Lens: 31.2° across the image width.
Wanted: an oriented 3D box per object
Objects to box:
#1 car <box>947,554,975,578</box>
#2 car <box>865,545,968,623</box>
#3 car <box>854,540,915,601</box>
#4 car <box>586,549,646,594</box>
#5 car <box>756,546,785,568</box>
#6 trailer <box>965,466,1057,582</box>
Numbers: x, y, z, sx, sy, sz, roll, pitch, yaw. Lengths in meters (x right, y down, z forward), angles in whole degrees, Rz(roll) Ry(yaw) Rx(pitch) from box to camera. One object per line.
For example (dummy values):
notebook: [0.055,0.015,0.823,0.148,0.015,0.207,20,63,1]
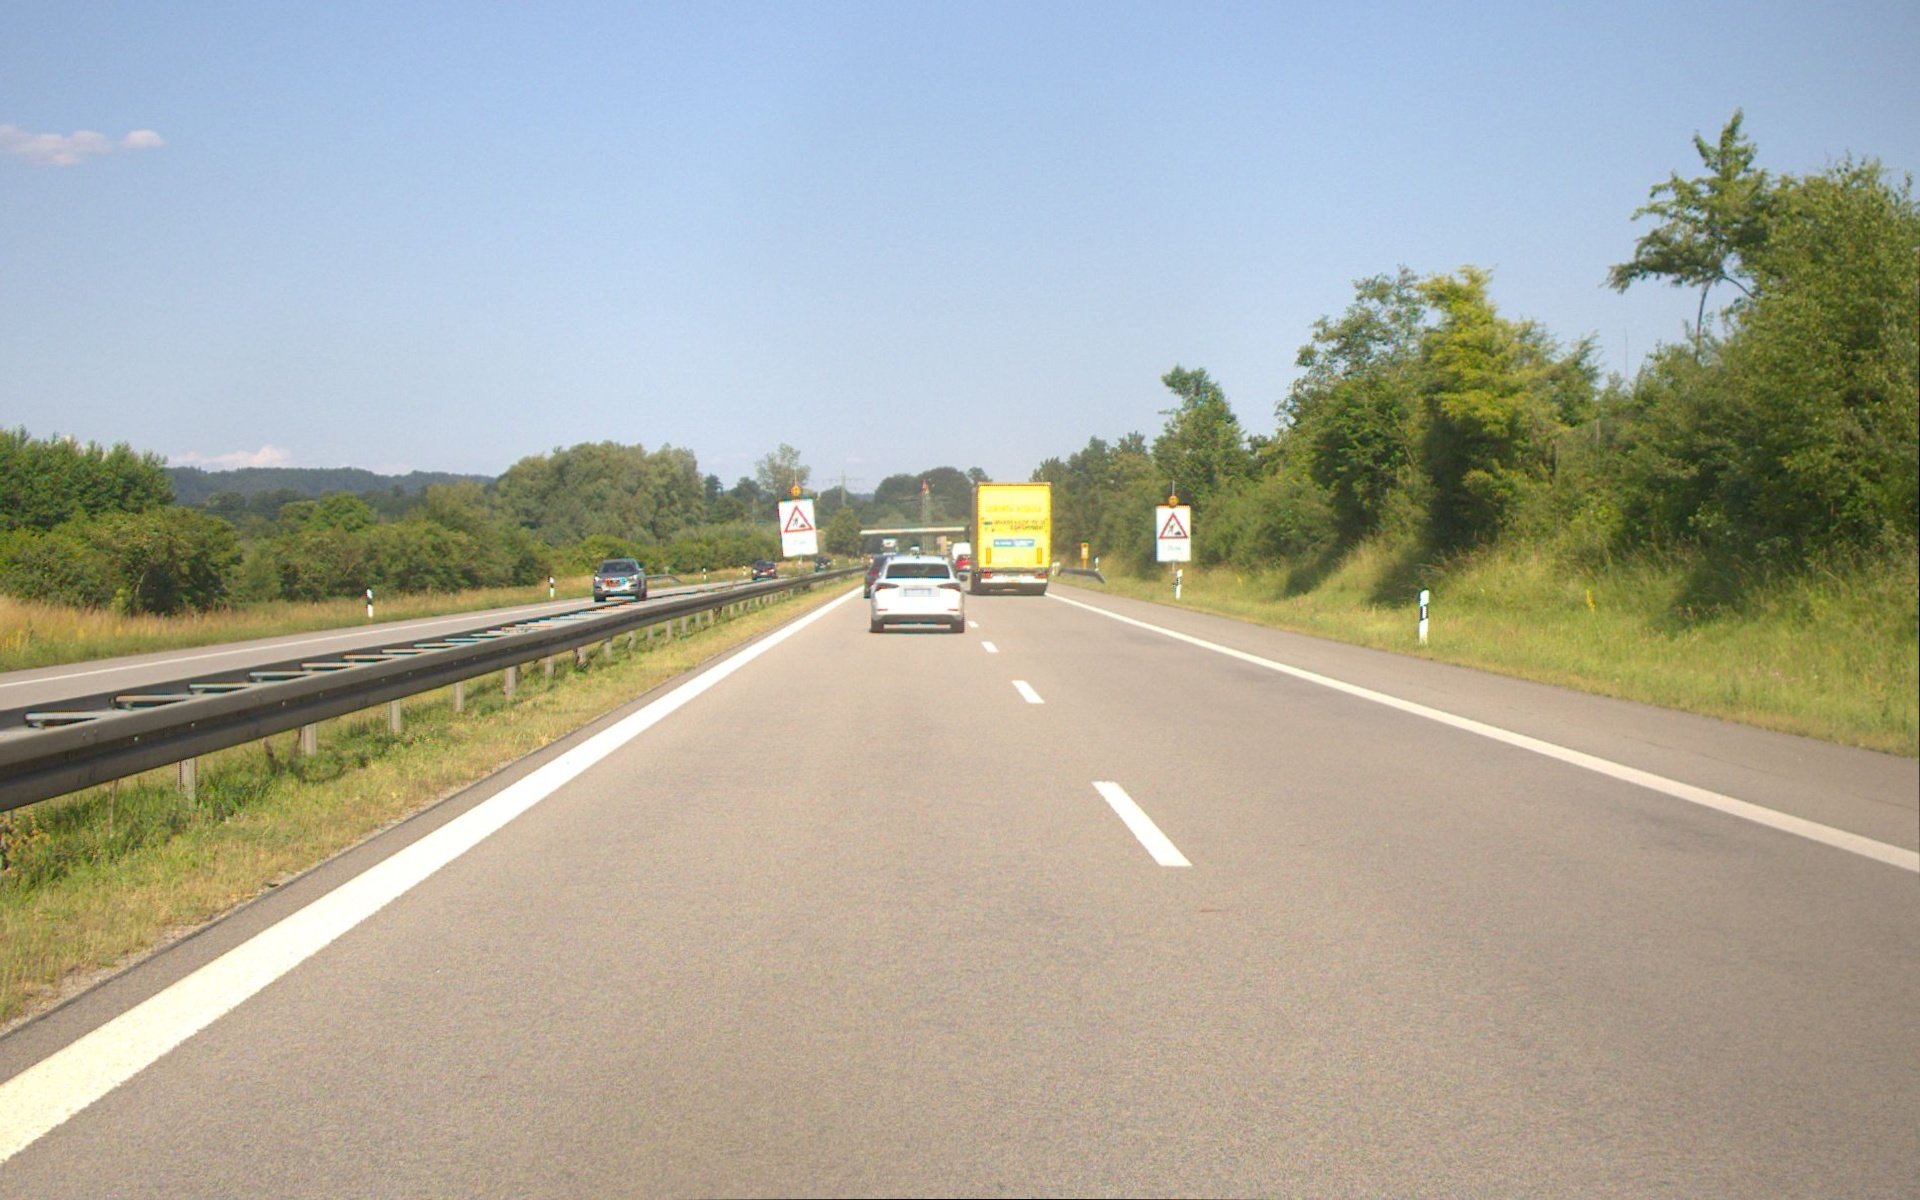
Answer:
car: [0.062,-2.501,253.995,1.902,1.677,4.731,2,1,-1]
car: [-0.800,-0.322,65.402,1.843,1.411,4.000,1,1,1]
car: [-2.551,-1.000,116.491,1.993,2.007,4.000,1,1,-1]
car: [-13.705,-1.139,137.099,1.902,1.677,4.731,-2,1,-1]
car: [-13.565,-3.091,246.823,1.832,1.393,4.923,-4,1,-1]
trailer: [1.822,-2.765,128.520,3.184,4.045,13.187,1,1,0]
